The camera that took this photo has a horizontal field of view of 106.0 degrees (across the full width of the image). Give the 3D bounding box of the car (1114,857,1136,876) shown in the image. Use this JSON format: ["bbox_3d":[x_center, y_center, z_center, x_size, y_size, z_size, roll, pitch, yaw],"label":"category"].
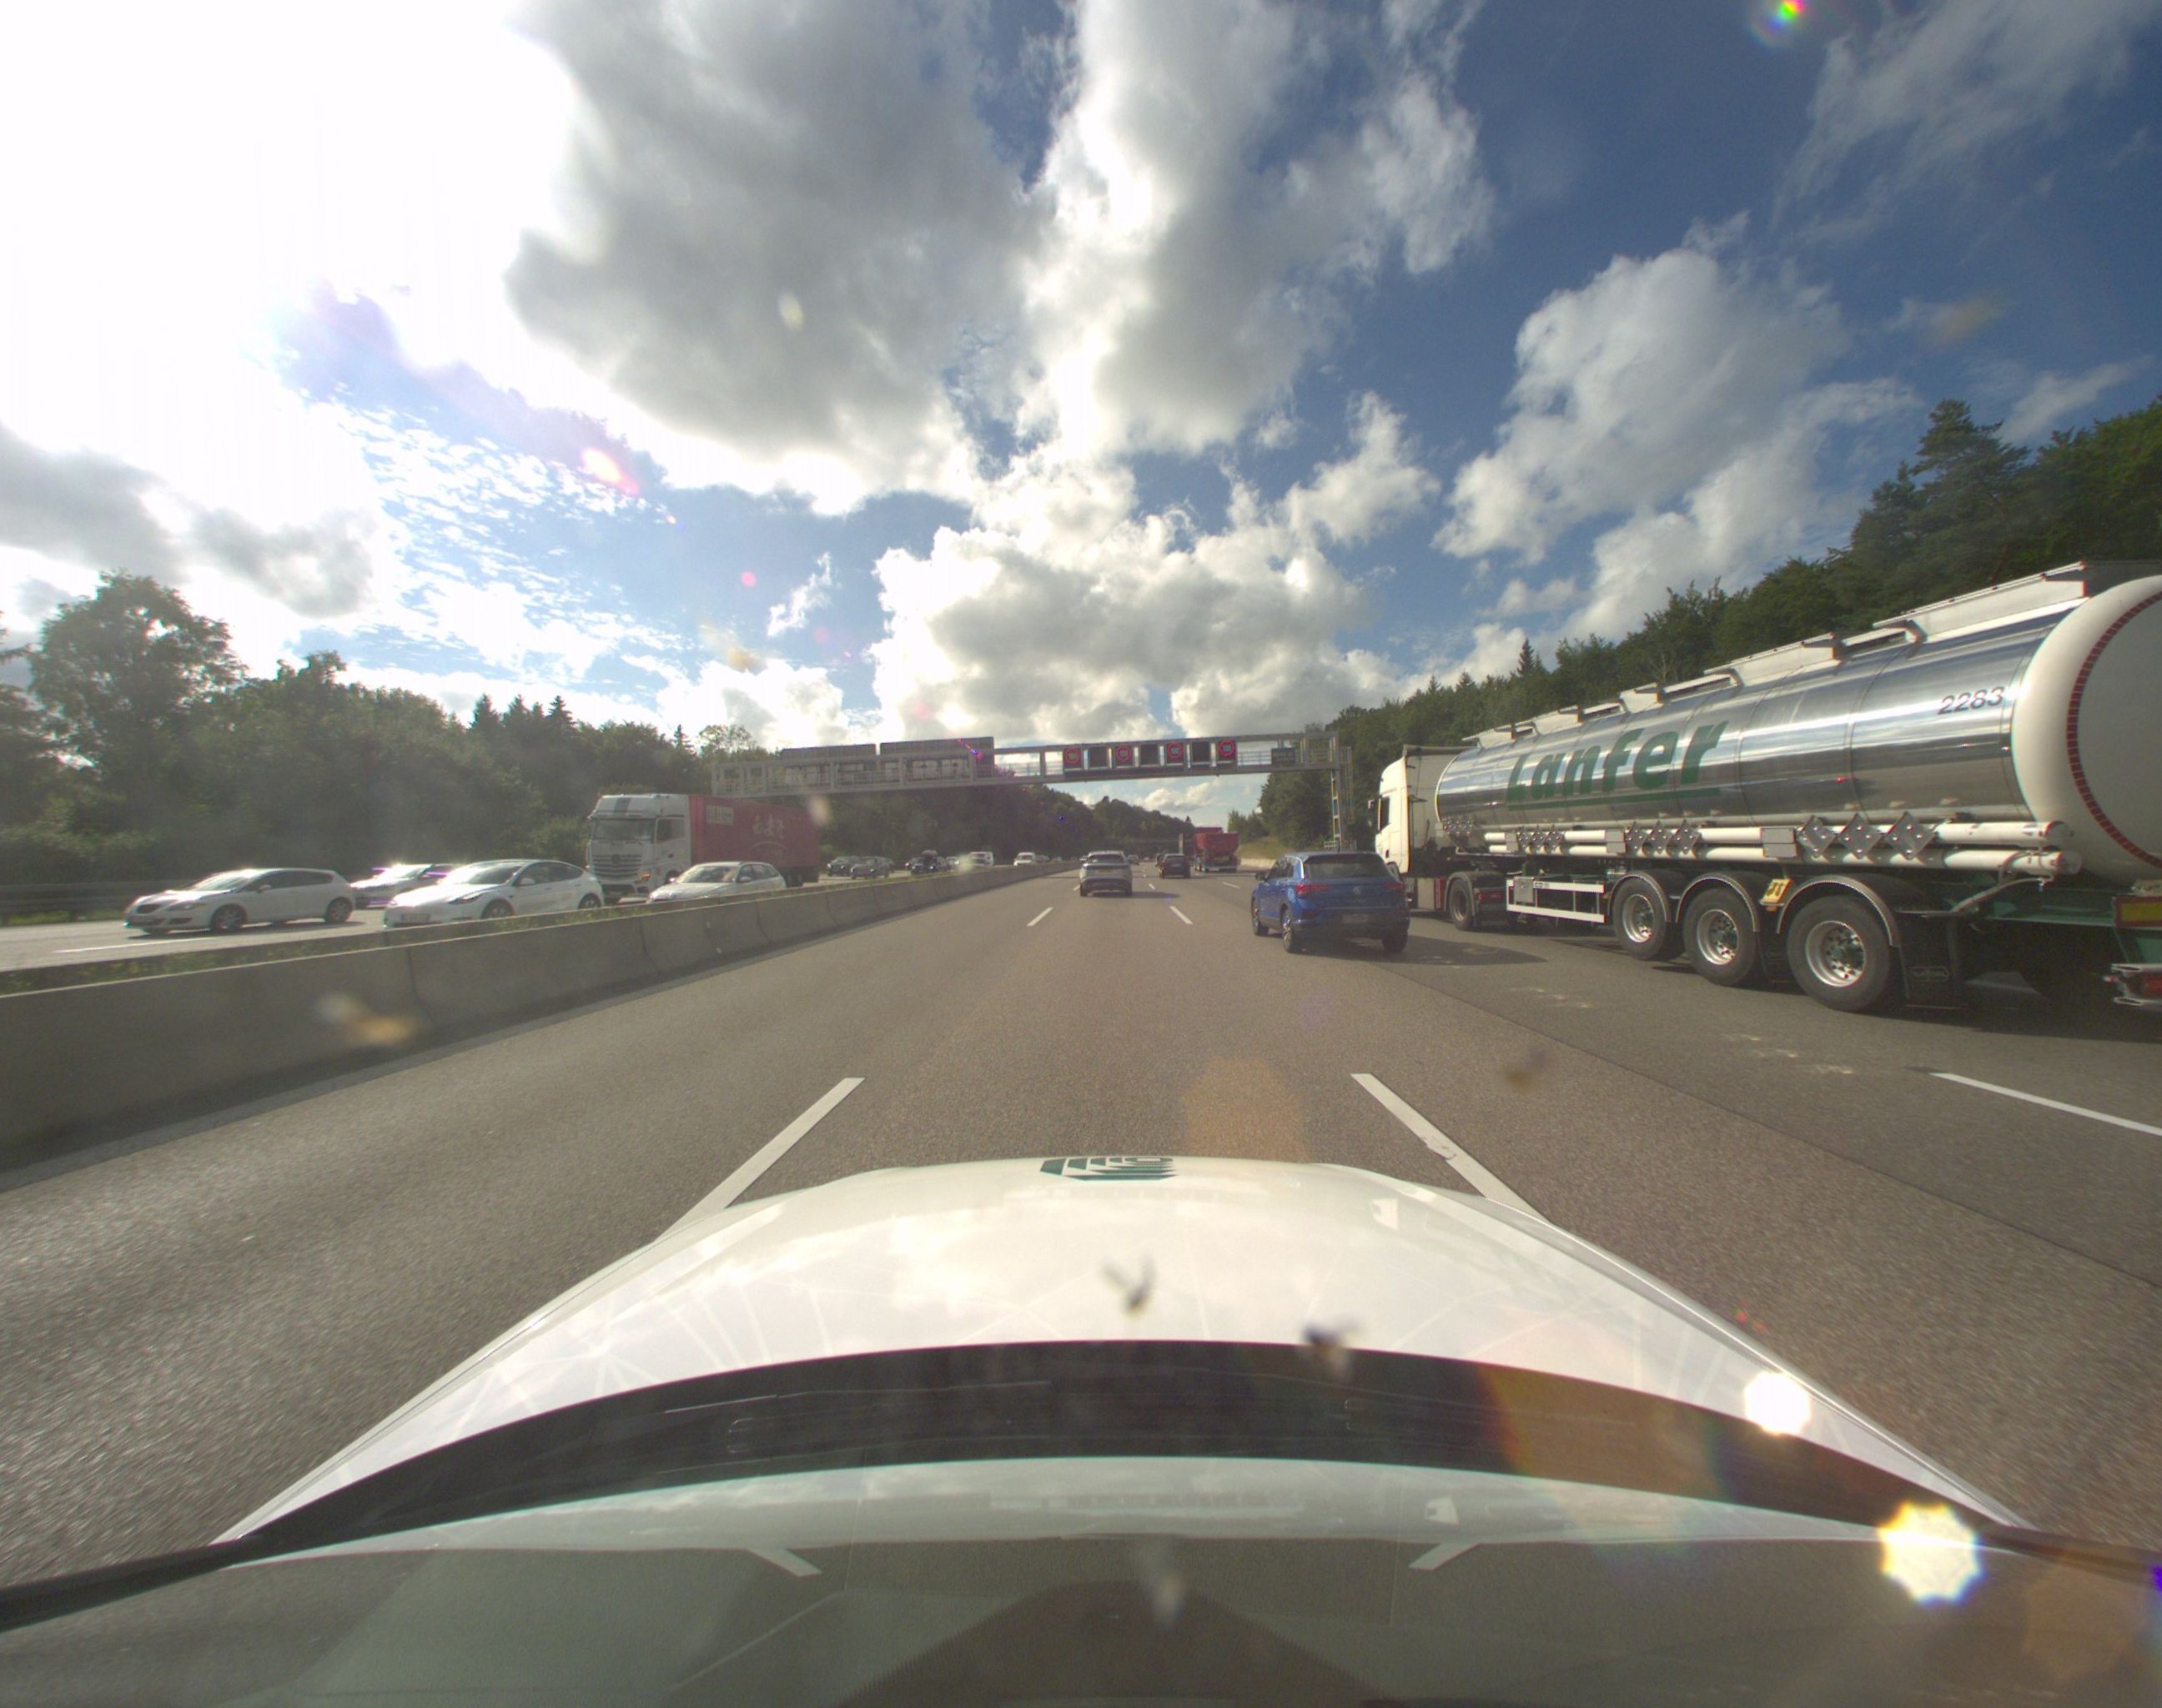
[{"bbox_3d":[3.861,1.059,70.755,1.814,1.546,4.004,0,0,4],"label":"car"}]

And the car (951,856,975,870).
[{"bbox_3d":[-12.195,0.908,84.064,1.630,1.416,4.004,0,0,3],"label":"car"}]

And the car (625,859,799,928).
[{"bbox_3d":[-8.894,0.882,20.173,1.762,1.442,4.857,-1,0,5],"label":"car"}]

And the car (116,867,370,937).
[{"bbox_3d":[-19.937,1.067,19.693,1.619,1.426,4.287,0,0,2],"label":"car"}]

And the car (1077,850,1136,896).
[{"bbox_3d":[1.072,0.673,31.500,1.997,1.616,5.307,-1,0,5],"label":"car"}]

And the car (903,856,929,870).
[{"bbox_3d":[-17.965,0.985,88.877,1.694,1.440,4.711,-1,0,3],"label":"car"}]

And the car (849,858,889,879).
[{"bbox_3d":[-15.083,1.032,58.064,1.631,1.416,4.002,-1,0,2],"label":"car"}]

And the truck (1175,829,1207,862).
[{"bbox_3d":[13.839,-0.970,103.218,3.106,3.935,10.417,0,0,2],"label":"truck"}]

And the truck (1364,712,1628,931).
[{"bbox_3d":[8.447,-0.587,17.551,2.639,3.823,6.084,-2,0,2],"label":"truck"}]

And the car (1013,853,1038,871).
[{"bbox_3d":[-5.205,0.718,77.125,1.762,1.649,4.523,0,0,3],"label":"car"}]

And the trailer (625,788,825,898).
[{"bbox_3d":[-15.607,-0.410,37.544,2.728,4.106,13.425,-1,0,3],"label":"trailer"}]

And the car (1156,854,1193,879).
[{"bbox_3d":[5.753,0.749,50.414,1.817,1.457,3.998,0,0,-1],"label":"car"}]

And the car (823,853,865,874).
[{"bbox_3d":[-18.958,0.722,65.206,1.808,1.613,4.152,-1,0,5],"label":"car"}]

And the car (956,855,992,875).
[{"bbox_3d":[-7.541,0.764,57.605,1.786,1.375,4.550,0,0,1],"label":"car"}]

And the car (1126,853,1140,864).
[{"bbox_3d":[7.416,0.657,115.529,1.813,1.457,4.006,-1,-1,5],"label":"car"}]

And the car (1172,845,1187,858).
[{"bbox_3d":[13.979,-0.359,115.844,1.885,1.857,4.105,0,0,4],"label":"car"}]

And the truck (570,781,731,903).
[{"bbox_3d":[-15.903,-0.403,30.595,2.728,4.106,5.768,-1,0,2],"label":"truck"}]

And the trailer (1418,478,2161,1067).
[{"bbox_3d":[8.247,-0.567,11.125,2.639,3.767,11.865,-2,0,2],"label":"trailer"}]

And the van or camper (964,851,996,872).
[{"bbox_3d":[-9.181,0.632,74.651,1.853,1.850,5.162,-1,0,5],"label":"van or camper"}]

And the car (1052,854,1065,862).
[{"bbox_3d":[-4.458,0.794,162.272,1.918,1.716,4.432,-1,0,8],"label":"car"}]

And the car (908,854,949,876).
[{"bbox_3d":[-10.705,0.752,57.582,1.691,1.528,4.690,0,0,4],"label":"car"}]

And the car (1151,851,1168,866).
[{"bbox_3d":[9.423,0.528,97.555,1.885,1.857,4.105,0,0,4],"label":"car"}]

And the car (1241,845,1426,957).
[{"bbox_3d":[3.963,0.691,13.606,1.767,1.530,4.458,-1,-1,1],"label":"car"}]

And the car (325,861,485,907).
[{"bbox_3d":[-23.654,1.001,28.729,1.986,1.437,4.280,0,0,1],"label":"car"}]

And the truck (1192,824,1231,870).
[{"bbox_3d":[10.974,-0.563,69.051,2.698,3.718,5.823,-1,0,3],"label":"truck"}]

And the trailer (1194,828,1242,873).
[{"bbox_3d":[10.671,-0.265,64.374,2.698,3.231,9.741,-1,0,3],"label":"trailer"}]

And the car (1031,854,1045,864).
[{"bbox_3d":[-7.179,0.779,135.476,1.658,1.640,4.486,0,0,6],"label":"car"}]

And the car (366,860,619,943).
[{"bbox_3d":[-12.618,0.924,17.994,1.850,1.525,4.996,0,0,1],"label":"car"}]

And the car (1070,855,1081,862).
[{"bbox_3d":[-1.355,1.136,201.264,1.916,1.716,4.436,-1,0,11],"label":"car"}]
